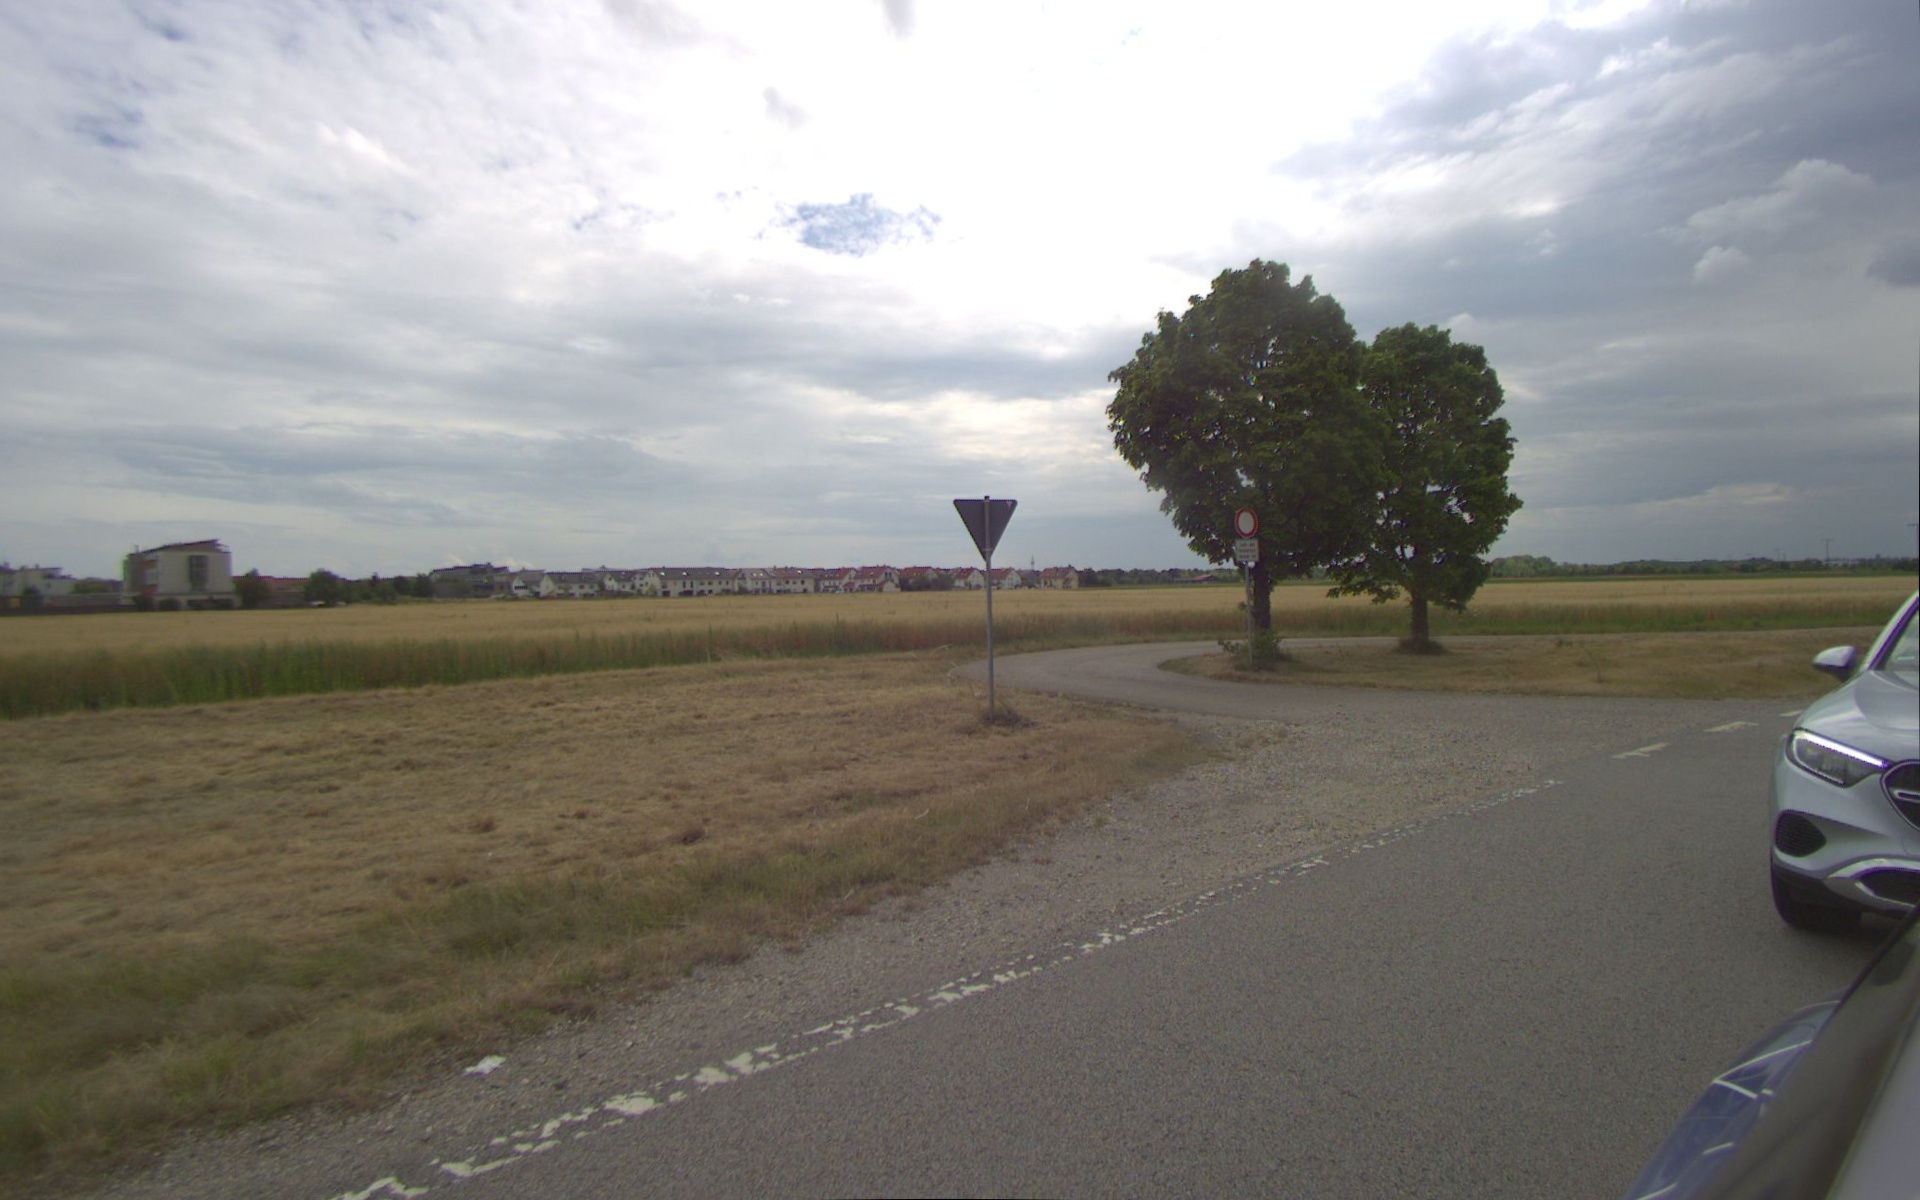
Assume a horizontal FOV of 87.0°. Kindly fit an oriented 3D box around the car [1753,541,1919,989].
[{"bbox_3d":[5.378,0.572,4.731,4.372,1.606,1.835,-1,0,-41],"label":"car"}]
